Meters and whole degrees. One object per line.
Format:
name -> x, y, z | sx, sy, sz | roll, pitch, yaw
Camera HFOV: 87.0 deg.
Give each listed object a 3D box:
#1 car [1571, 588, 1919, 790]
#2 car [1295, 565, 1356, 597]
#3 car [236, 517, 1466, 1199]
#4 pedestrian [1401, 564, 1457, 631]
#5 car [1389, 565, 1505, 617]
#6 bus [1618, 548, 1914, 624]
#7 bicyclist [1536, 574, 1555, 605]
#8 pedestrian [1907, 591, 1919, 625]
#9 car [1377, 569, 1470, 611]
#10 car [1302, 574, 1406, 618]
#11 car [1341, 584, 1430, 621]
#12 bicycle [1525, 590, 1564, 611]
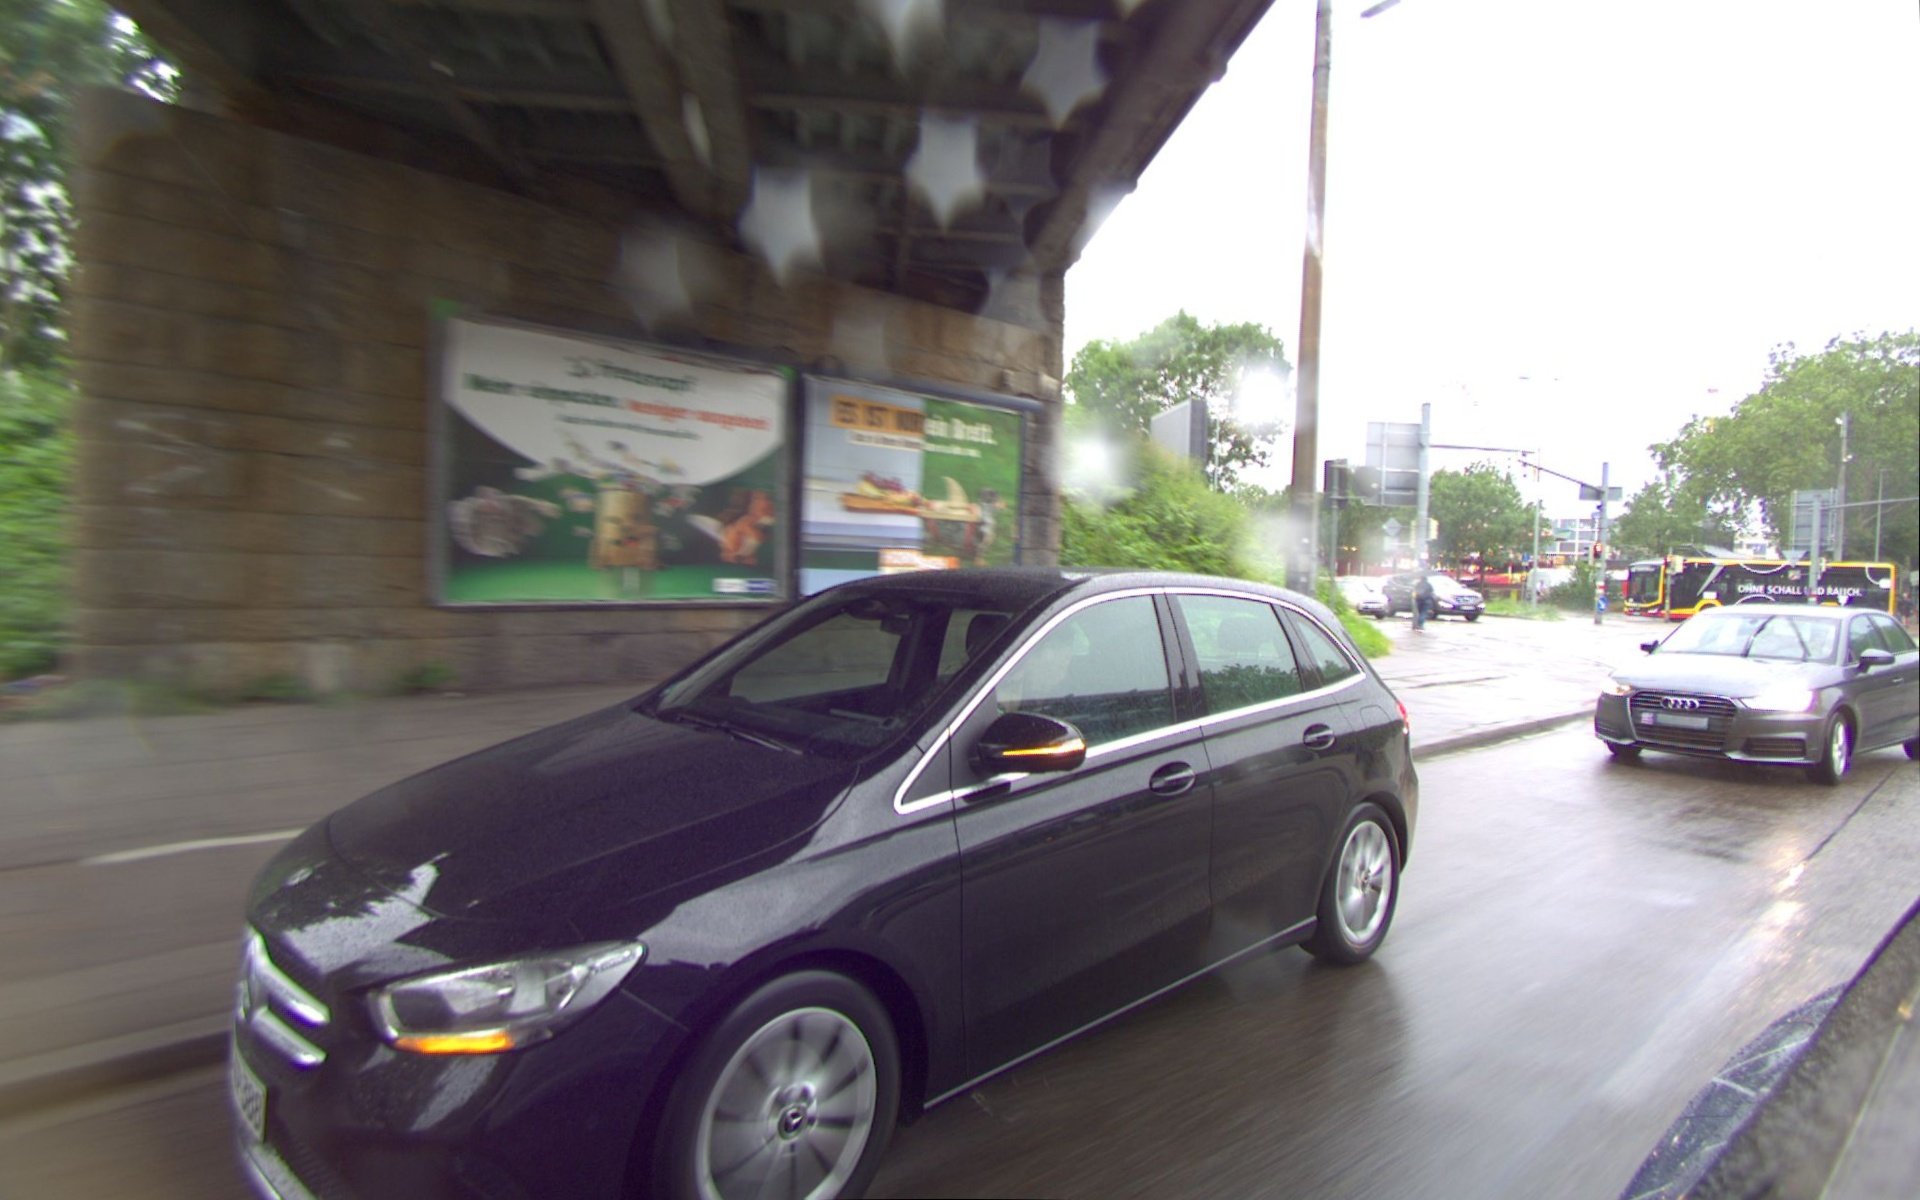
car -> 7.437, 0.626, 9.136 | 3.680, 1.415, 1.843 | -1, 1, -32
car -> 21.594, -1.155, 59.933 | 1.572, 1.741, 4.009 | 2, 3, -9
car -> -0.002, 0.617, 3.591 | 4.017, 1.542, 1.873 | 0, 1, -42
pedestrian -> 12.780, -0.076, 27.596 | 0.984, 1.740, 0.822 | 2, 2, -14
car -> 17.899, -0.383, 37.427 | 1.988, 1.677, 4.068 | 2, 3, -5
bus -> 40.221, -0.763, 50.802 | 12.056, 3.308, 3.276 | 2, 2, 0
bicyclist -> 36.152, -0.651, 62.476 | 0.754, 1.904, 0.623 | 1, 2, -7
pedestrian -> 47.806, 0.424, 50.475 | 0.614, 1.672, 0.645 | 2, 1, -35
car -> 22.149, -0.527, 48.531 | 2.133, 1.741, 4.309 | 2, 3, -4
car -> 14.777, -0.182, 38.219 | 1.859, 1.365, 4.009 | 2, 3, -8
car -> 19.415, 0.084, 46.358 | 1.795, 1.374, 4.009 | 2, 3, -10
bicycle -> 36.122, 0.017, 62.572 | 0.805, 1.179, 2.264 | 2, 2, -7
